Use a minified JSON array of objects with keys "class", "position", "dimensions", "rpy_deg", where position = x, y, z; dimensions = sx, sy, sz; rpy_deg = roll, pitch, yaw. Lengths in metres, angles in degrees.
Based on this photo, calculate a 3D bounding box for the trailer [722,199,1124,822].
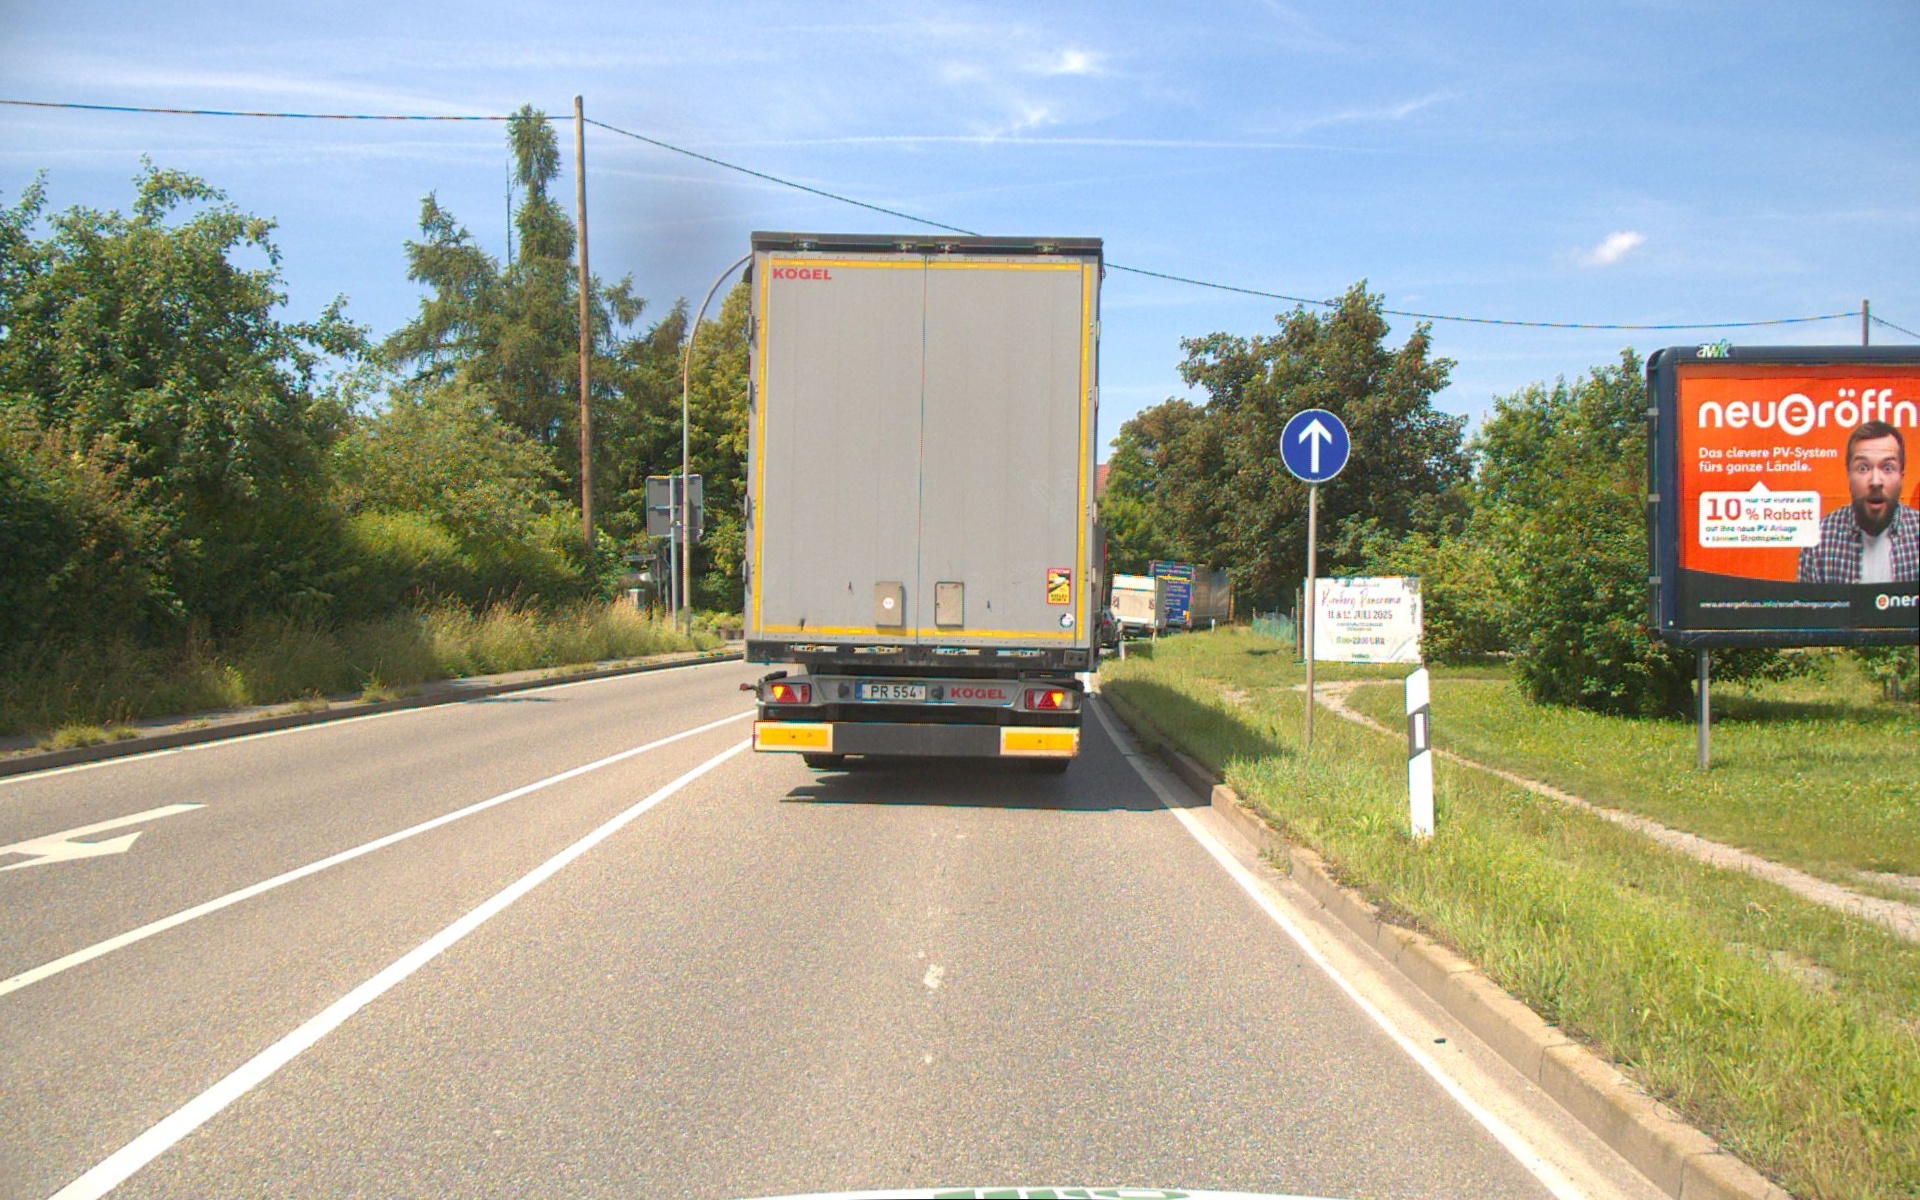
[{"class":"trailer","position":[-0.030,-0.690,17.511],"dimensions":[2.729,4.278,12.115],"rpy_deg":[1,1,2]}]

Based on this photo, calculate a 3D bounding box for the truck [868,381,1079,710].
[{"class":"truck","position":[0.304,-0.747,24.567],"dimensions":[2.689,4.238,6.145],"rpy_deg":[1,1,2]}]

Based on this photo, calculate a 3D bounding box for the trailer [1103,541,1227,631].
[{"class":"trailer","position":[12.142,-0.827,95.877],"dimensions":[5.069,4.709,15.908],"rpy_deg":[1,1,14]}]

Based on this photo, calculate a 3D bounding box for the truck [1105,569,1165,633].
[{"class":"truck","position":[8.325,0.025,78.132],"dimensions":[2.369,2.888,5.417],"rpy_deg":[1,1,10]}]

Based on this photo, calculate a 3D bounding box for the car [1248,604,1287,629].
[{"class":"car","position":[22.118,1.168,118.919],"dimensions":[1.953,1.713,3.999],"rpy_deg":[1,1,22]}]

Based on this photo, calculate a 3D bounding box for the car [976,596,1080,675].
[{"class":"car","position":[1.531,0.724,35.679],"dimensions":[1.951,1.556,4.003],"rpy_deg":[1,0,6]}]

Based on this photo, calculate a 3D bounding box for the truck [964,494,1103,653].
[{"class":"truck","position":[2.467,-0.789,52.157],"dimensions":[3.853,4.655,7.157],"rpy_deg":[0,0,7]}]

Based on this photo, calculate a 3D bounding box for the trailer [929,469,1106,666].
[{"class":"trailer","position":[1.902,-0.832,45.295],"dimensions":[3.808,4.600,12.723],"rpy_deg":[1,0,6]}]

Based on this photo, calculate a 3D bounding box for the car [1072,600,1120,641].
[{"class":"car","position":[5.413,0.769,65.548],"dimensions":[1.802,1.512,4.003],"rpy_deg":[1,1,6]}]
